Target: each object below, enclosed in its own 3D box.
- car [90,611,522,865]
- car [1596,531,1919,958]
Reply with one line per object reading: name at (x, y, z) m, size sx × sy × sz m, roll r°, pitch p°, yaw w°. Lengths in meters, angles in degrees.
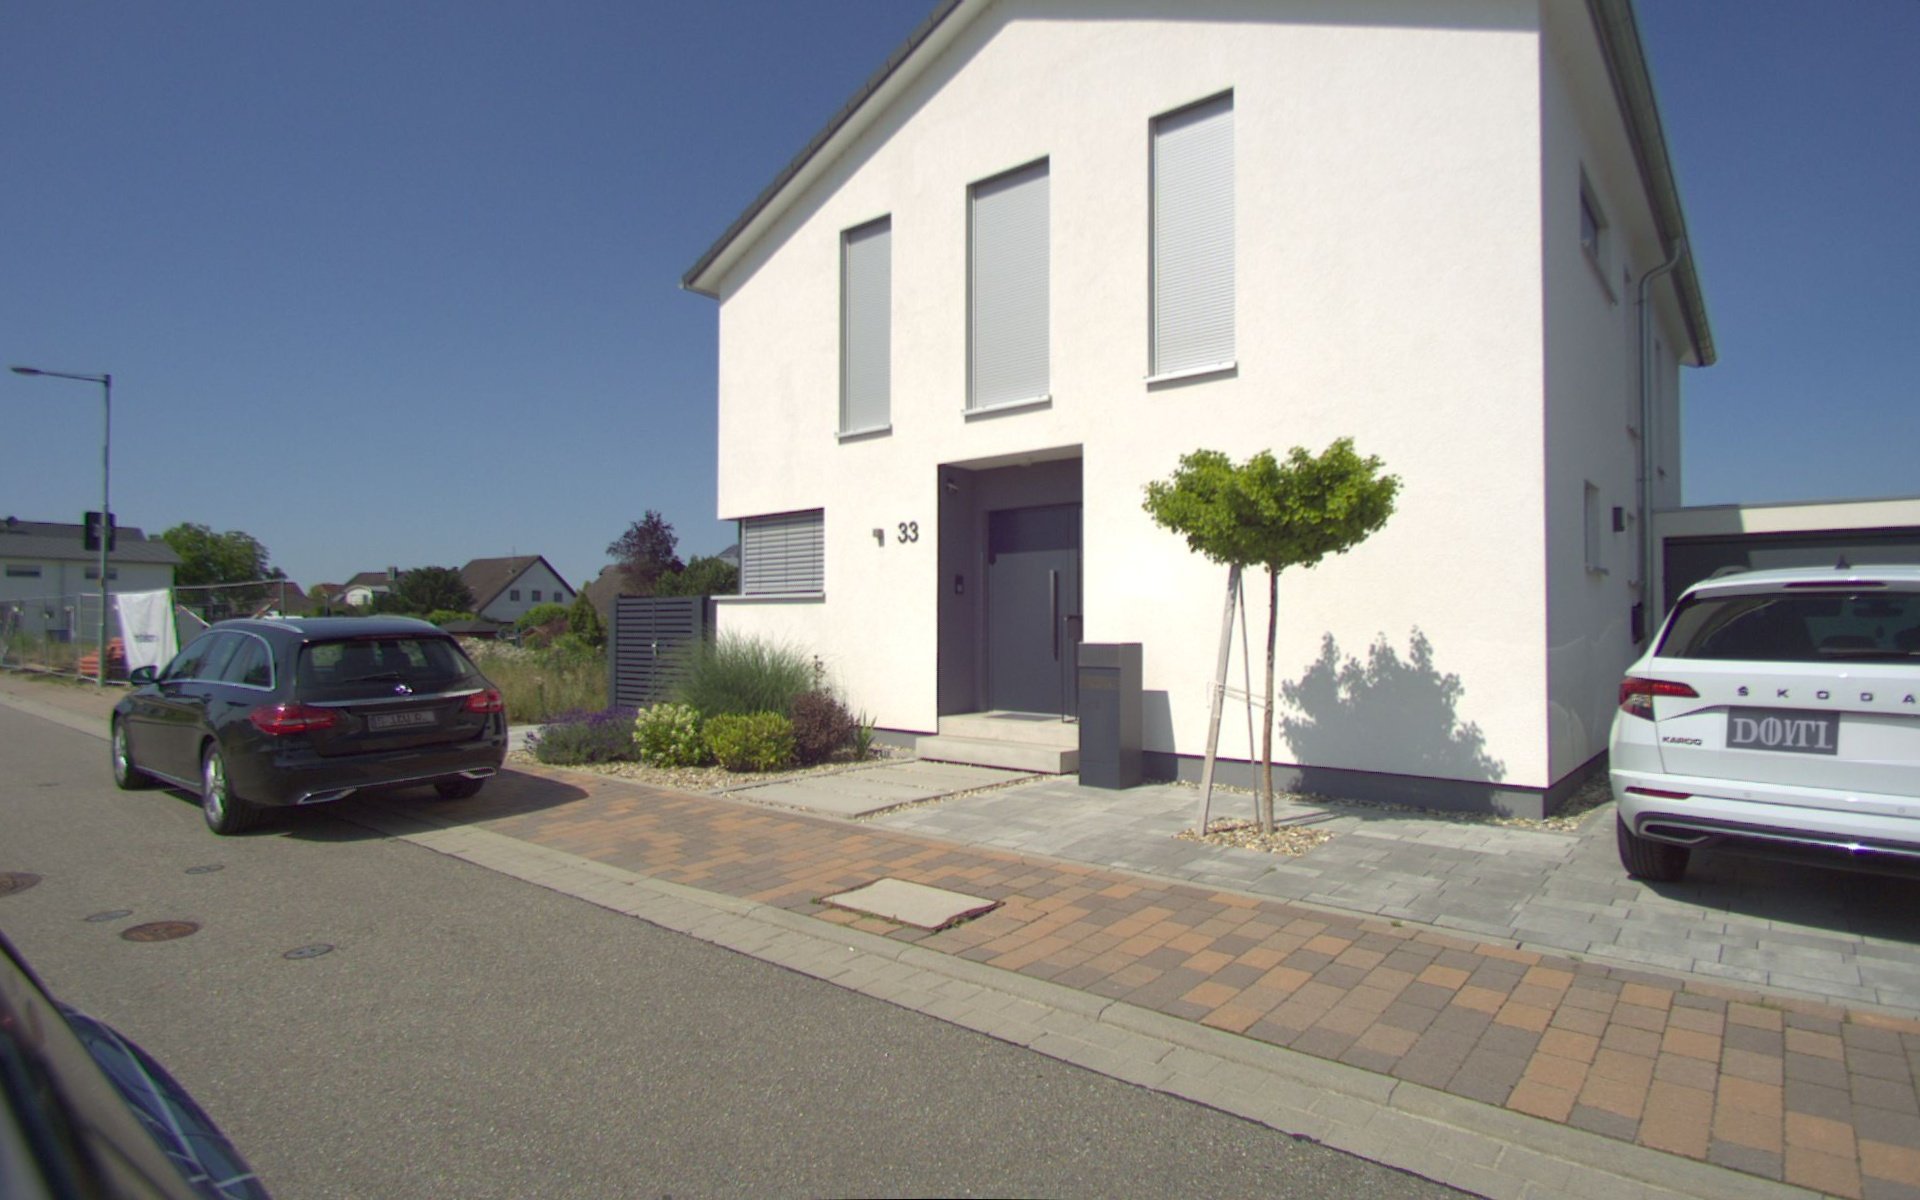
car at (-5.414, 0.869, 8.117) m, size 4.441 × 1.484 × 1.673 m, roll -1°, pitch 0°, yaw 40°
car at (4.896, 0.553, 5.389) m, size 1.794 × 1.631 × 3.911 m, roll -2°, pitch -1°, yaw 44°
